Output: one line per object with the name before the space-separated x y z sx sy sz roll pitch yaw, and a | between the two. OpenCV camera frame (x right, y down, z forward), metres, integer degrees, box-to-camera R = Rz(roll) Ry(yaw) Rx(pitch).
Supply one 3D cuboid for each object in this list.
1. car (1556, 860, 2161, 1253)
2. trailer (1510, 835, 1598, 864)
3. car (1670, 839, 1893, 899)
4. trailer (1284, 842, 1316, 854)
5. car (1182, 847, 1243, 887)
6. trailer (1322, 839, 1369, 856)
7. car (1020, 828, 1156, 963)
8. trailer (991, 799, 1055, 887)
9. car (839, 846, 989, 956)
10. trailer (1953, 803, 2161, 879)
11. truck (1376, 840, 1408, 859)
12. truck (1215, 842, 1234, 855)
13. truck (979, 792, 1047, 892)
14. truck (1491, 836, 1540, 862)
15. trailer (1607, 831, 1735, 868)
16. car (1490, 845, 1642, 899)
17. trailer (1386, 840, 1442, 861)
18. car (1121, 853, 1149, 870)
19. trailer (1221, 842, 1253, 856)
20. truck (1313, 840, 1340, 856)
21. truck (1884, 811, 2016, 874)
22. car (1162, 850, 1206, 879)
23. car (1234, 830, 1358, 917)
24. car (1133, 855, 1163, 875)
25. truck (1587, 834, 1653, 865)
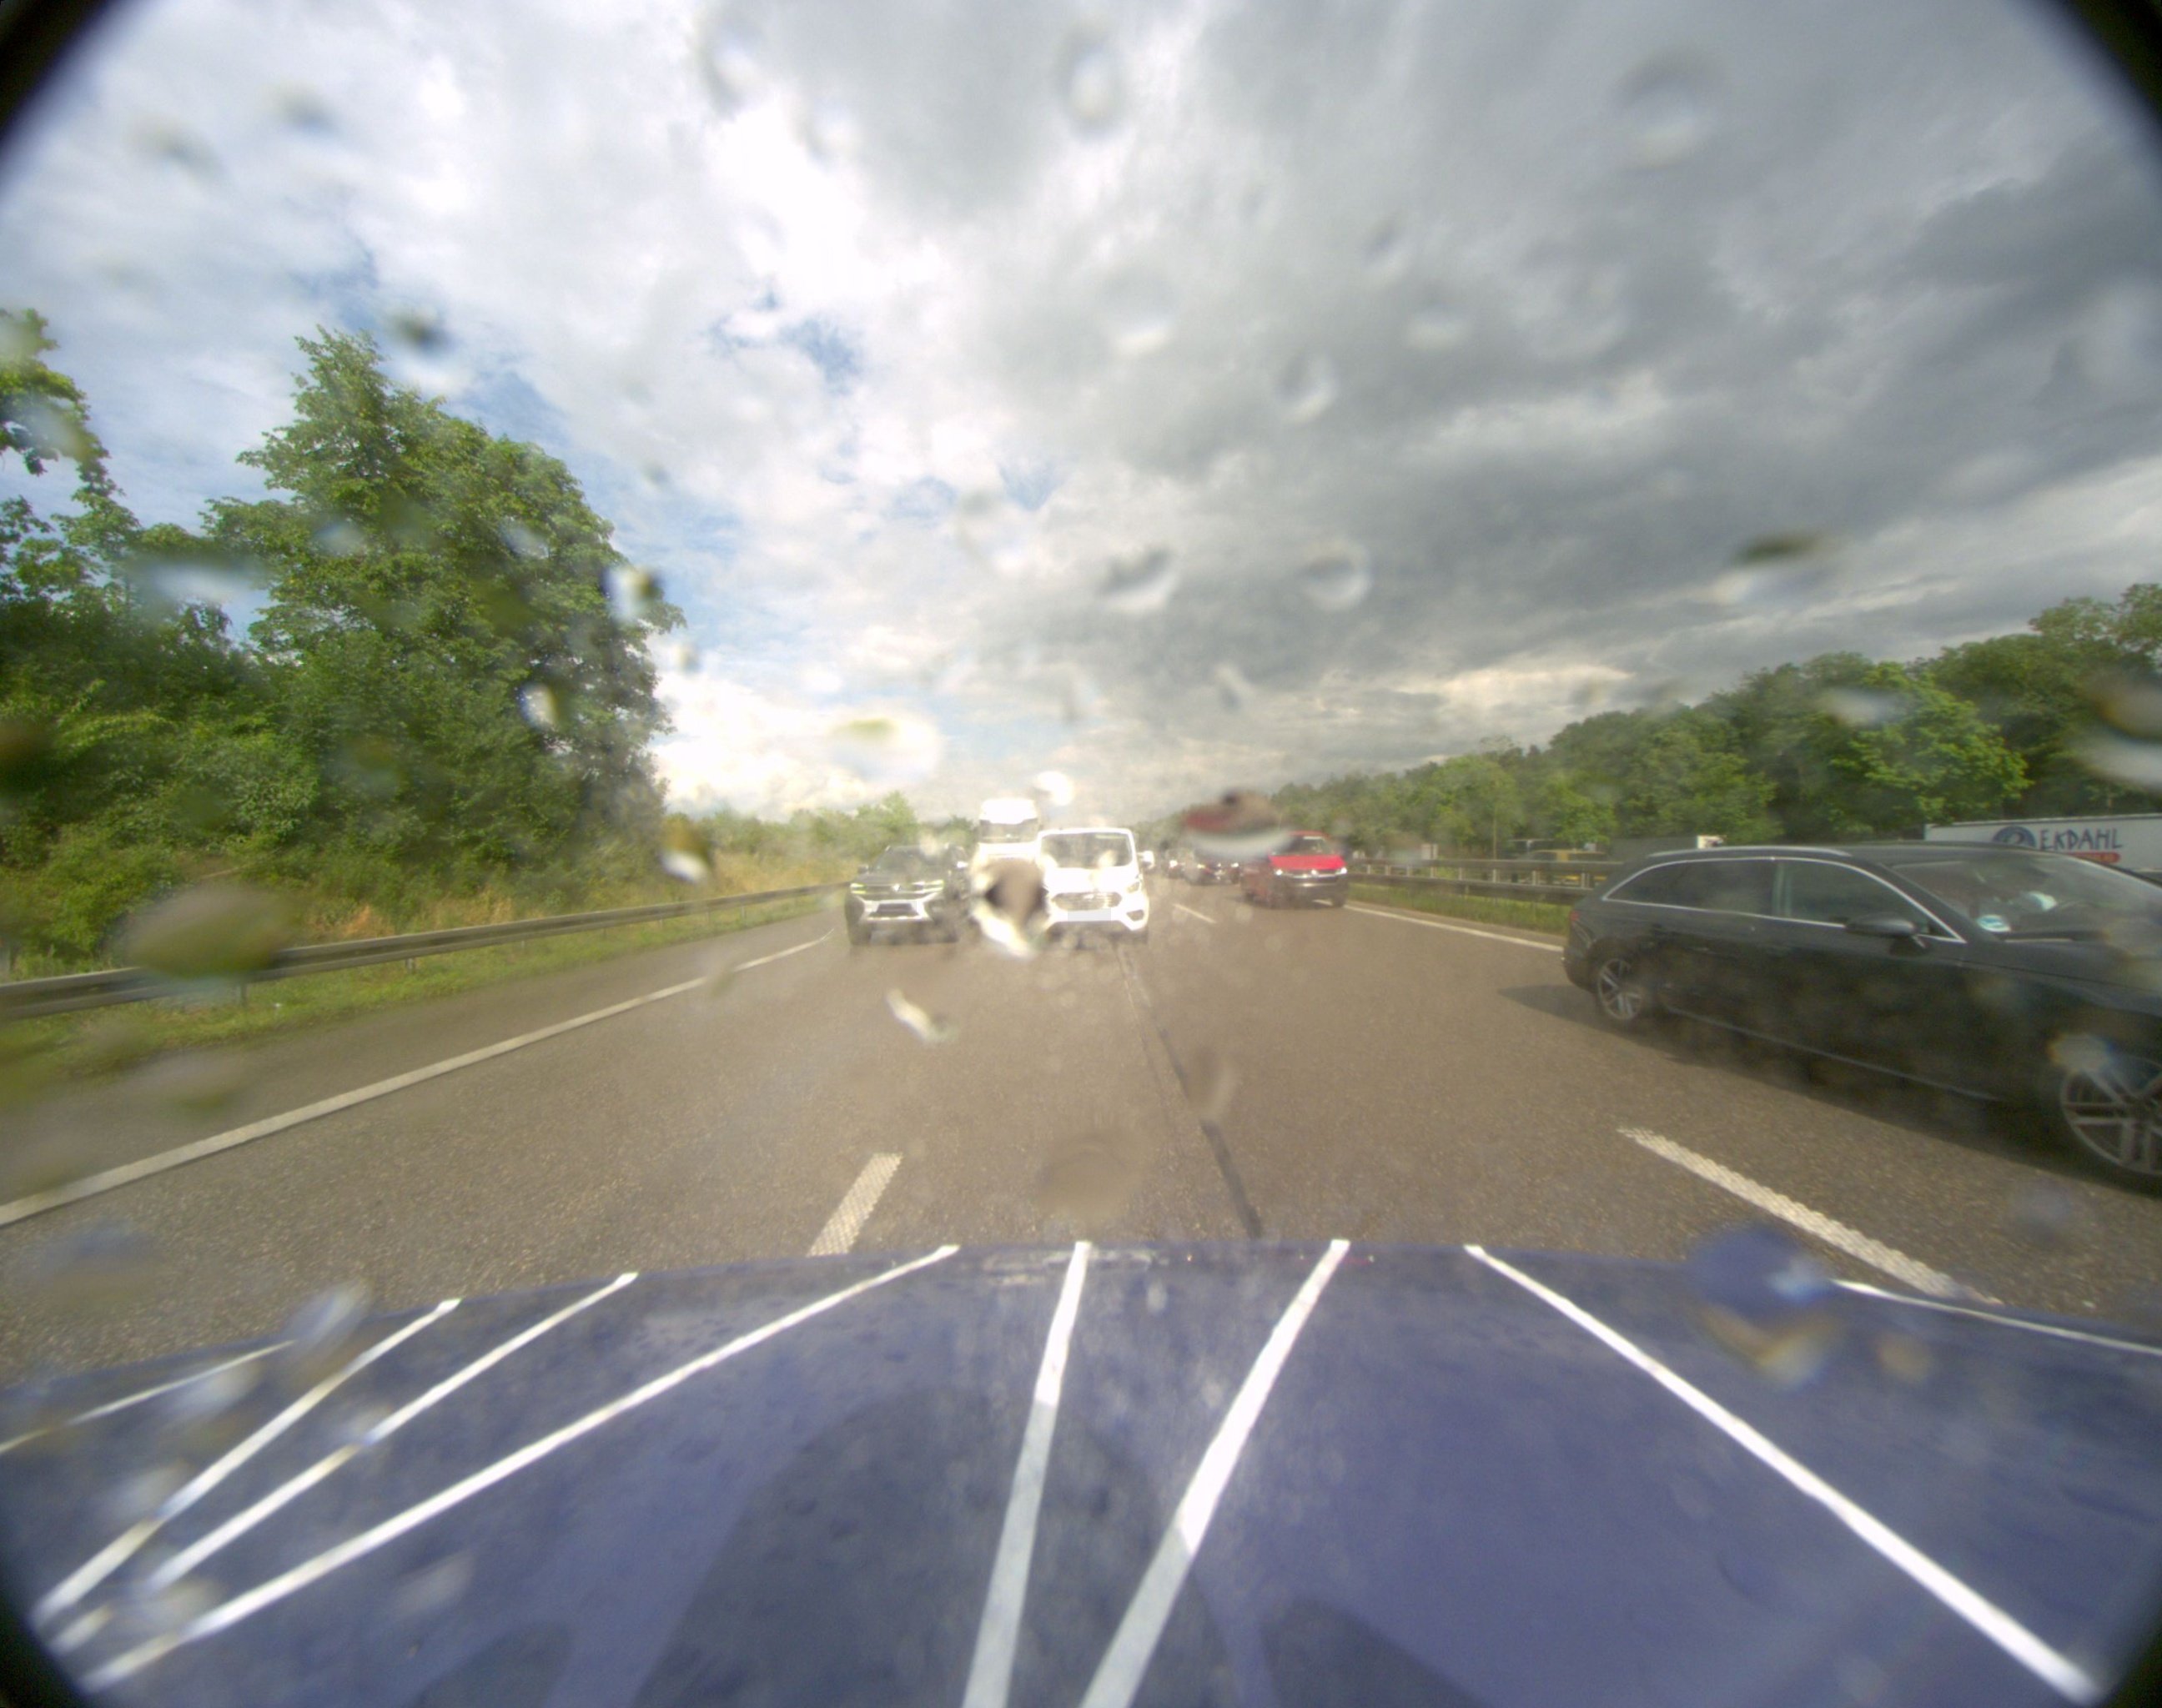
car | 4.986 0.794 4.350 1.723 1.403 4.467 -2 0 0
trailer | 56.198 -0.579 90.838 2.611 3.253 12.646 0 0 0
car | 18.034 0.324 19.913 1.806 1.329 4.410 -2 1 1
trailer | 49.246 -1.355 170.991 2.537 2.559 9.869 -2 1 -11
car | 5.778 0.526 33.856 1.895 1.660 4.294 -1 1 0
trailer | 52.154 -1.295 150.307 3.086 3.253 13.400 0 0 -7
car | 0.096 0.620 14.039 1.985 1.973 5.168 -2 0 0
trailer | -2.963 -0.592 42.179 2.451 4.095 12.214 -2 1 0
car | -3.117 0.776 15.400 1.831 1.793 5.305 -1 0 0
trailer | 52.051 -0.637 39.114 2.187 3.579 11.725 0 0 8
truck | 54.484 -0.743 133.254 3.182 3.237 5.389 1 1 -2
truck | 39.296 -1.391 208.081 2.700 3.462 6.332 0 0 -14
truck | -2.972 -0.513 34.438 2.460 4.080 5.332 -2 0 0
truck | 56.159 -0.645 98.361 2.582 3.232 6.535 0 1 0
trailer | 55.627 -0.430 72.258 3.027 3.174 12.175 0 0 2
car | 13.635 0.439 21.664 1.806 1.329 3.999 -2 1 1
trailer | 54.817 -0.655 125.471 3.193 3.253 12.644 0 0 -3
car | 4.384 0.592 61.944 1.888 1.228 4.506 -2 0 0
trailer | 41.109 -1.349 201.001 2.707 3.492 13.403 0 1 -14
truck | 51.166 -1.282 158.561 3.082 3.237 6.092 0 1 -7
truck | 53.019 -0.672 46.563 2.167 3.599 5.581 0 1 8
car | 5.804 0.554 43.282 1.895 1.558 4.053 -1 1 0
car | 5.525 0.457 20.209 1.895 1.973 4.750 -2 0 0
car | 4.614 0.732 52.786 1.675 1.228 3.999 -2 0 0
truck | 56.073 -0.470 79.261 3.049 3.165 5.597 0 0 2
